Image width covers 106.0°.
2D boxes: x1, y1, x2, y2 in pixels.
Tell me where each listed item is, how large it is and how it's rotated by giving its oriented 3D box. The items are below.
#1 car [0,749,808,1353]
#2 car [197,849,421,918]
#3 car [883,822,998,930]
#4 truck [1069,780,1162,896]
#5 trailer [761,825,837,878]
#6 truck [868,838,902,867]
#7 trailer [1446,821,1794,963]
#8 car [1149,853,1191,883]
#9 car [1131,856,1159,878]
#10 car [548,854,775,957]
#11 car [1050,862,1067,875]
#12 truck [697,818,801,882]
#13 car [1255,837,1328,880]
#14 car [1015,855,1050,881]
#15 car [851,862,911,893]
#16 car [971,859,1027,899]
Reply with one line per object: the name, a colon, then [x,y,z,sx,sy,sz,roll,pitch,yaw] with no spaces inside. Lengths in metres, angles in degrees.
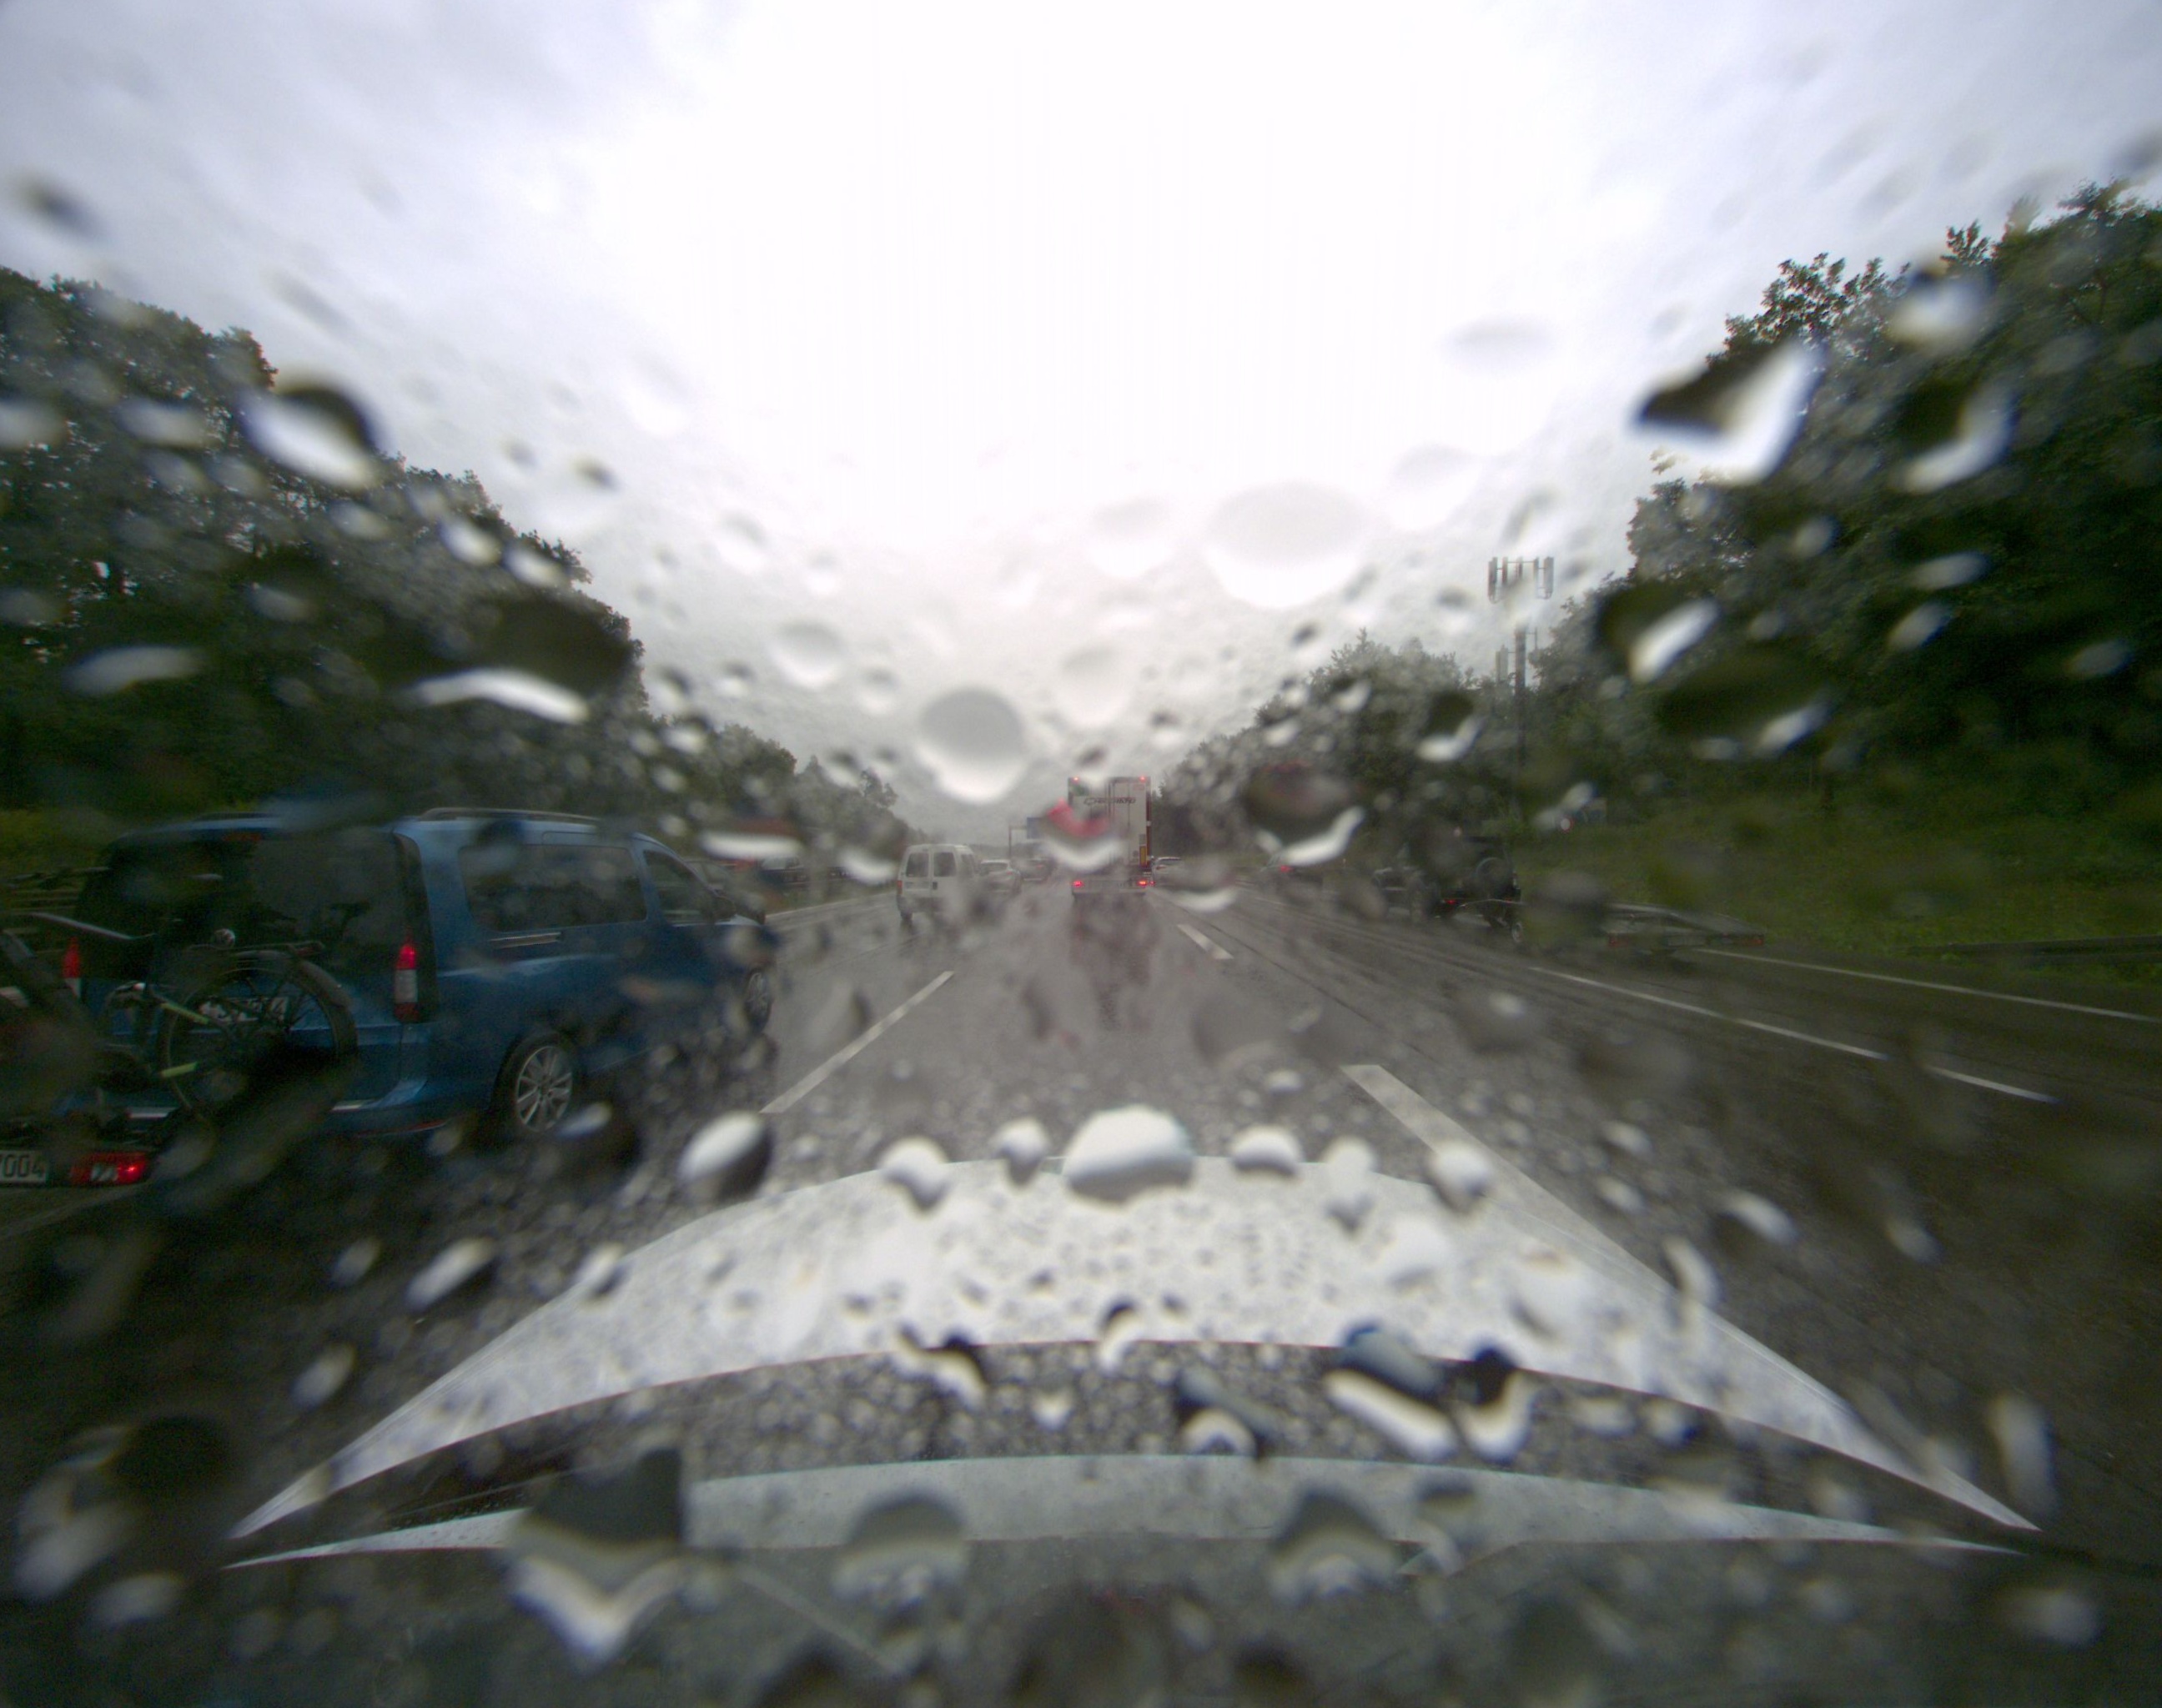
car: [-3.835,0.628,5.136,2.260,1.912,5.020,-1,0,3]
car: [-19.758,0.702,21.123,1.853,1.596,4.003,-1,0,3]
car: [-3.622,0.527,22.052,2.206,2.573,5.014,-1,0,0]
truck: [1.229,-0.444,30.999,2.861,3.562,11.305,-1,-1,2]
trailer: [-22.110,-0.197,64.429,2.673,3.818,9.008,-1,0,1]
truck: [-27.014,-0.203,112.659,3.010,3.818,6.264,-1,0,0]
trailer: [7.687,0.461,12.452,2.233,1.714,5.088,-1,0,4]
car: [4.582,0.682,42.280,1.882,1.425,4.486,-1,0,3]
car: [4.547,0.890,58.380,1.838,1.522,4.346,-1,0,2]
car: [-7.426,0.807,15.009,1.839,1.591,4.466,-1,0,0]
car: [-2.470,1.618,90.807,1.840,1.330,4.464,-1,0,-1]
truck: [-22.244,-0.258,55.280,2.694,3.931,10.030,-1,0,1]
car: [8.409,0.167,33.004,1.981,1.583,4.771,-1,0,3]
car: [-3.101,0.864,52.912,1.838,1.591,4.469,-1,0,3]
car: [-11.365,1.284,46.566,2.083,1.504,4.755,-3,0,1]
car: [-3.497,1.023,35.359,1.838,1.591,4.074,-1,0,3]
